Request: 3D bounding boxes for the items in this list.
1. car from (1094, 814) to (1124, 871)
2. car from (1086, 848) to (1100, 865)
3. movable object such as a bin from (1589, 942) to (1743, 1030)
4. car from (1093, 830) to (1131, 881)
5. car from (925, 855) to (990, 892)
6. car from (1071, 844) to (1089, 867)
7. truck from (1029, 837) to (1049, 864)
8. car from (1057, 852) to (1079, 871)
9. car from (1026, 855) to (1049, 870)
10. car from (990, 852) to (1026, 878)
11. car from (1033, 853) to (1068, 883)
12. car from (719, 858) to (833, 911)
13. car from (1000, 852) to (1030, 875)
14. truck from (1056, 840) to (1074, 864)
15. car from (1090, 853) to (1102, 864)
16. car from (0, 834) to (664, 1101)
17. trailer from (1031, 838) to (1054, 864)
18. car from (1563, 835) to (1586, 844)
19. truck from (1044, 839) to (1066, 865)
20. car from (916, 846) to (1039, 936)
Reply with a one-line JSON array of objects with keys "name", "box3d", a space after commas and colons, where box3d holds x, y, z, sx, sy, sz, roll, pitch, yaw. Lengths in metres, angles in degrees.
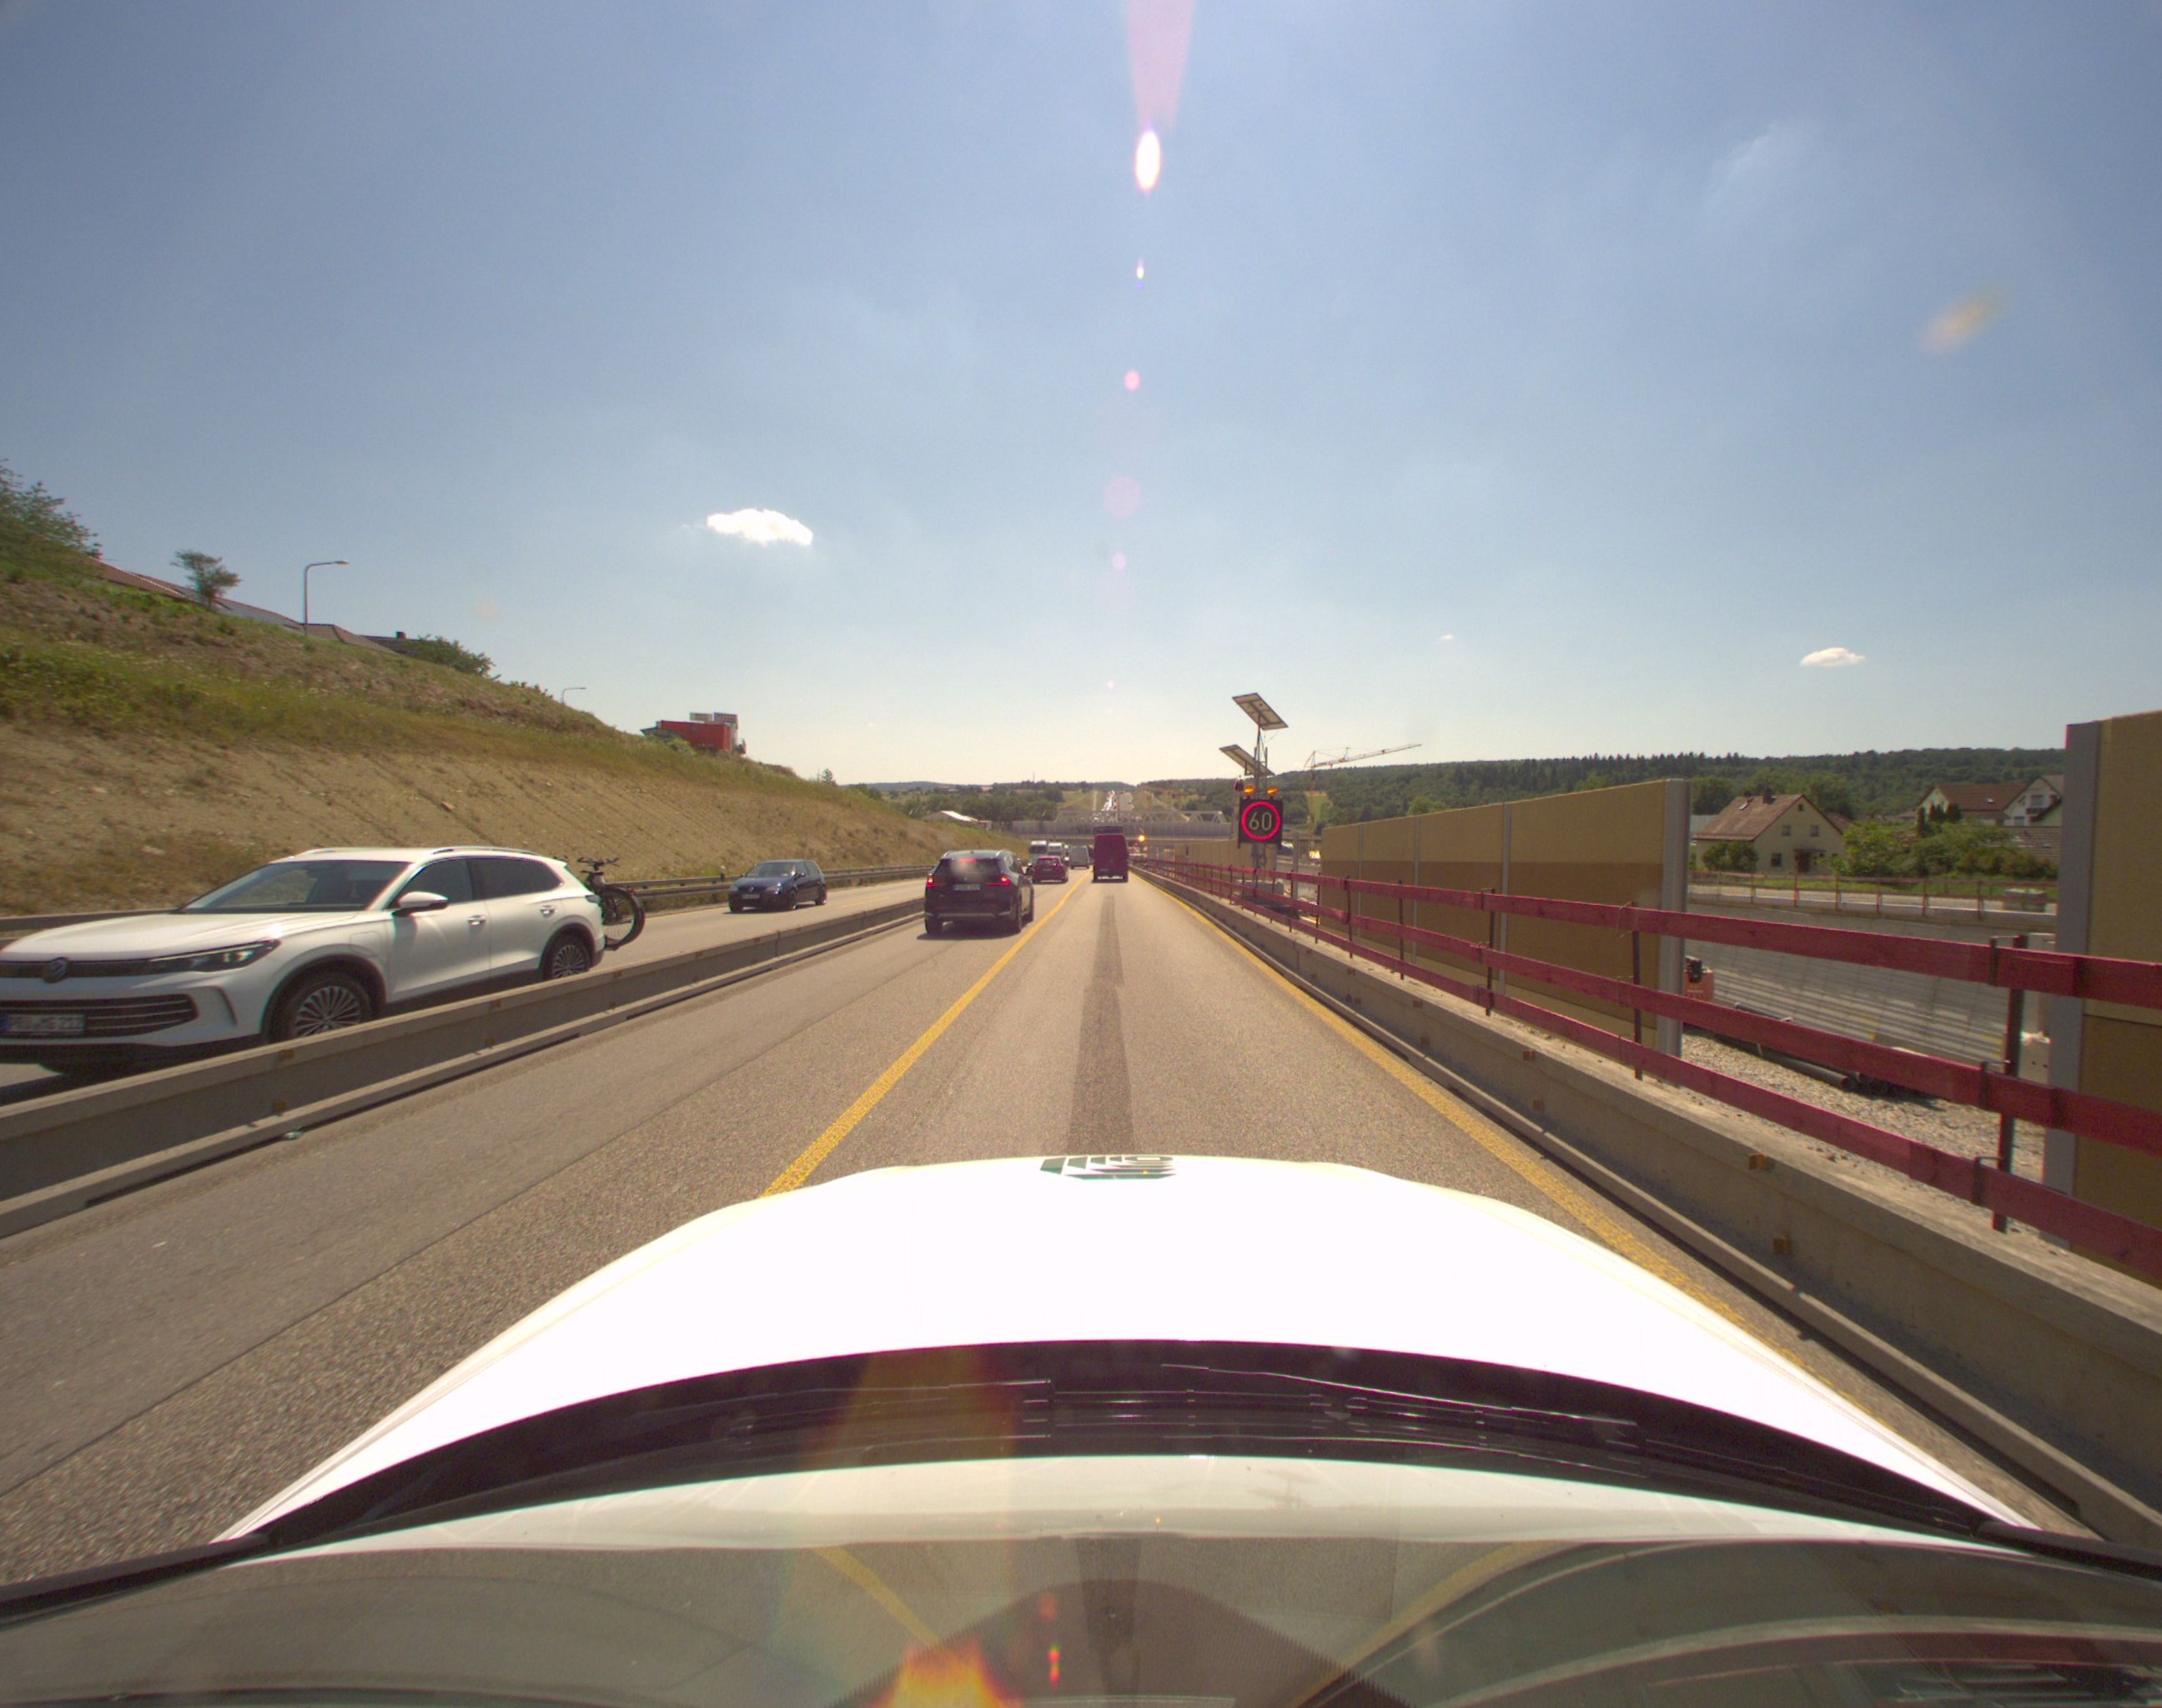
[{"name": "car", "box3d": [2.661, -1.030, 78.342, 2.611, 5.032, 10.401, -1, 0, 2]}, {"name": "car", "box3d": [1.685, 0.341, 112.130, 1.769, 2.330, 4.208, -1, 0, 2]}, {"name": "movable object such as a bin", "box3d": [21.522, 4.791, 30.247, 2.599, 2.489, 4.455, 1, 0, 1]}, {"name": "car", "box3d": [1.739, 0.087, 46.268, 1.981, 2.690, 4.625, -1, 0, 2]}, {"name": "car", "box3d": [-5.306, 0.792, 35.654, 1.948, 1.499, 5.092, 0, 0, 2]}, {"name": "car", "box3d": [-0.108, 0.152, 91.754, 1.769, 2.441, 4.208, -1, 0, 2]}, {"name": "truck", "box3d": [-6.324, -0.489, 122.791, 2.688, 4.050, 3.956, 0, 0, 1]}, {"name": "car", "box3d": [-1.139, 0.645, 75.523, 1.833, 1.654, 4.166, -1, 0, 1]}, {"name": "car", "box3d": [-4.253, 0.827, 80.074, 1.790, 1.427, 4.951, -1, 0, 1]}, {"name": "car", "box3d": [-4.818, 0.691, 54.107, 1.838, 1.665, 4.690, 0, 0, 2]}, {"name": "car", "box3d": [-1.643, 0.740, 43.975, 1.771, 1.517, 4.203, -1, 0, -2]}, {"name": "car", "box3d": [-9.034, 0.851, 24.493, 1.703, 1.418, 4.244, -1, 0, 2]}, {"name": "car", "box3d": [-5.025, 0.697, 62.798, 1.838, 1.665, 4.390, 0, 0, 2]}, {"name": "truck", "box3d": [-2.485, -0.259, 130.920, 2.580, 3.758, 7.361, 0, 0, 1]}, {"name": "car", "box3d": [2.265, 0.673, 125.345, 1.769, 1.670, 4.030, -1, 0, 2]}, {"name": "car", "box3d": [-6.363, 0.710, 7.811, 1.833, 1.654, 5.372, -1, 0, 1]}, {"name": "trailer", "box3d": [-6.109, -0.485, 130.325, 2.688, 4.024, 13.706, 0, 0, 1]}, {"name": "car", "box3d": [86.619, -2.490, 142.921, 1.706, 1.517, 4.079, 0, 0, 4]}, {"name": "truck", "box3d": [-3.532, -0.274, 110.929, 2.529, 3.374, 7.040, 0, 0, 1]}, {"name": "car", "box3d": [-2.014, 0.681, 17.195, 1.872, 1.618, 4.501, -1, 0, 2]}]
